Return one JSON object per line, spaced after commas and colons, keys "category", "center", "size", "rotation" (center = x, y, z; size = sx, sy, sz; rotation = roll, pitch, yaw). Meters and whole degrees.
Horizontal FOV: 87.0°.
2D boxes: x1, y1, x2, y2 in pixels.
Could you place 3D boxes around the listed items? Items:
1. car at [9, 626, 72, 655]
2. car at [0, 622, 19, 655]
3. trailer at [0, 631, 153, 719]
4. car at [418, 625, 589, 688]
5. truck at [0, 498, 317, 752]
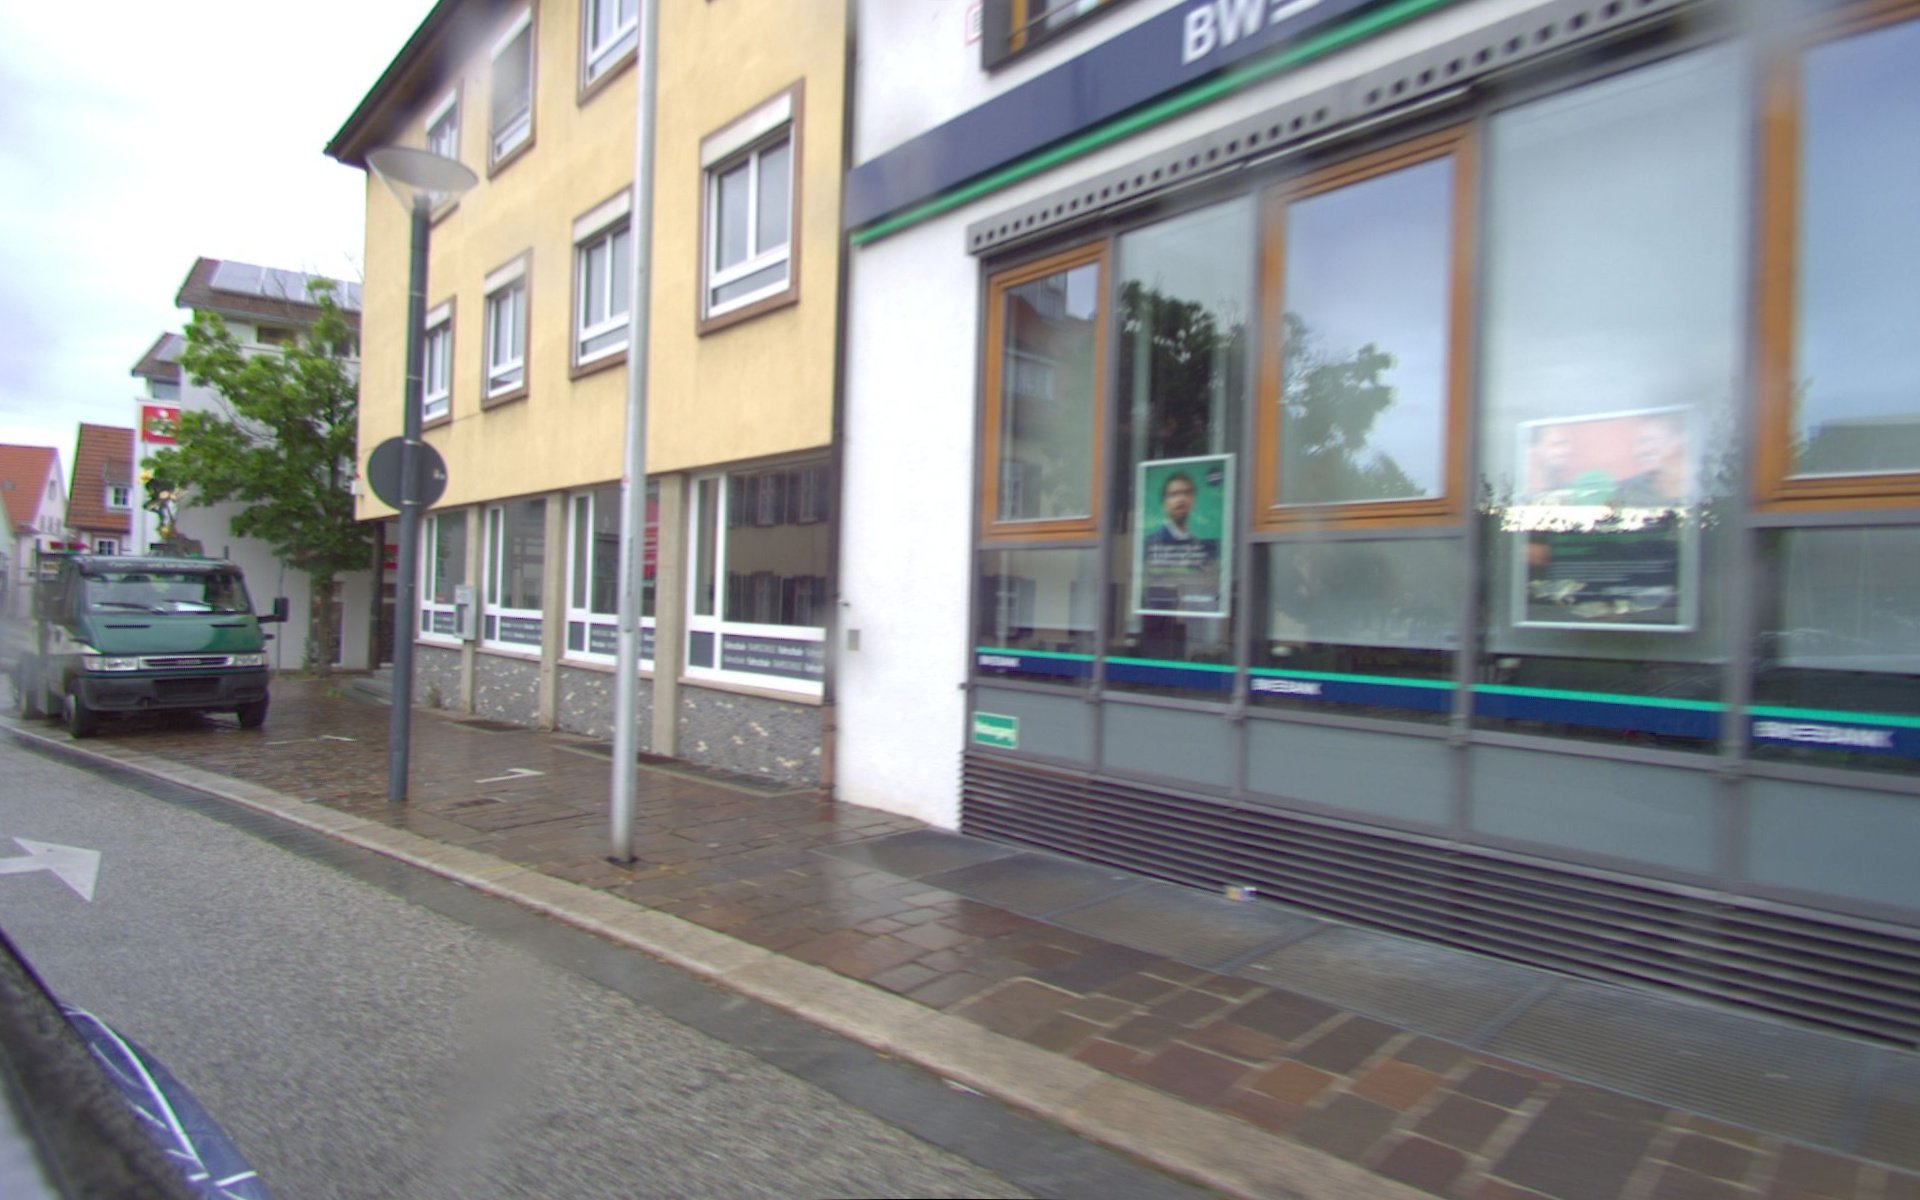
{"category": "car", "center": [-52.946, 2.276, 58.346], "size": [1.966, 1.541, 4.011], "rotation": [-1, -1, -32]}
{"category": "car", "center": [-46.282, 1.817, 48.422], "size": [1.670, 1.497, 4.002], "rotation": [3, -3, -45]}
{"category": "trailer", "center": [-15.377, 1.246, 17.409], "size": [3.158, 1.357, 1.710], "rotation": [-2, -4, 40]}
{"category": "car", "center": [-12.354, 1.534, 27.455], "size": [3.933, 1.576, 1.971], "rotation": [3, -3, -34]}
{"category": "truck", "center": [-11.688, 0.416, 14.313], "size": [6.594, 2.816, 2.448], "rotation": [-2, -4, 40]}
